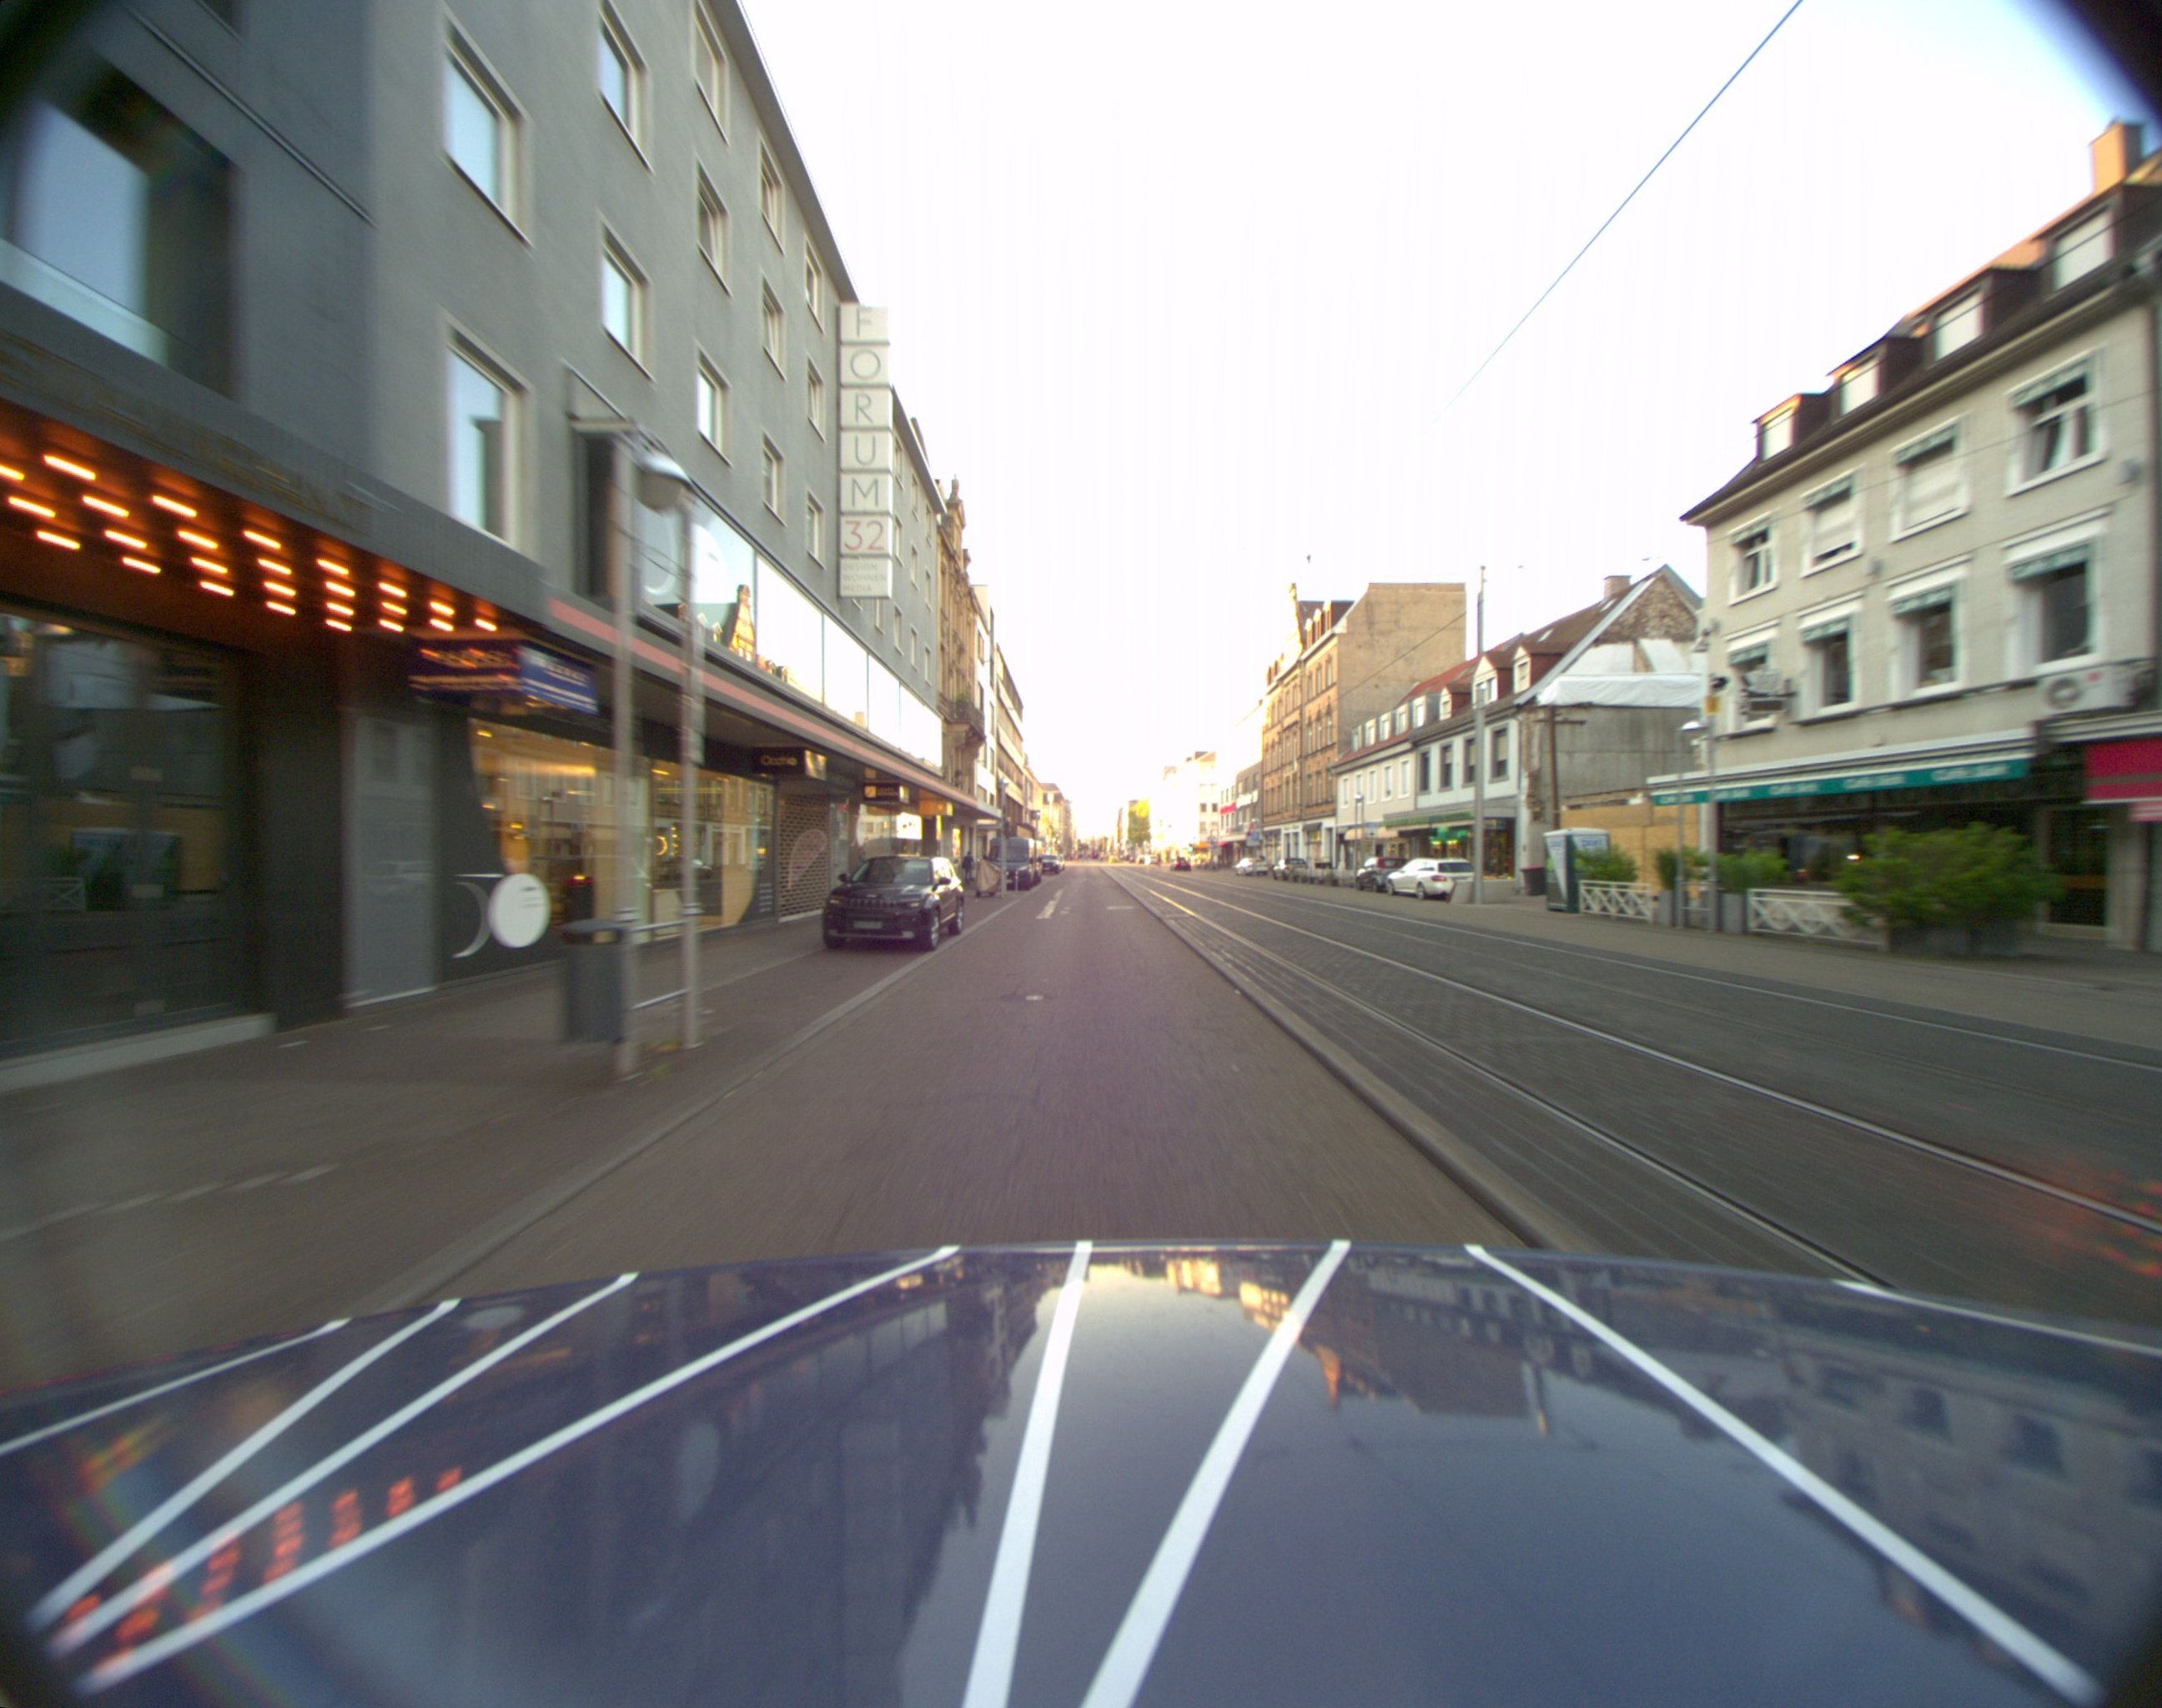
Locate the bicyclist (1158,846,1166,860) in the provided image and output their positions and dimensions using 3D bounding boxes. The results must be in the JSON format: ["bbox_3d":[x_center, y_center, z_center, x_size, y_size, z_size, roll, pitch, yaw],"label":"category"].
[{"bbox_3d":[10.241,-0.150,96.117,0.882,1.795,0.900,-2,1,1],"label":"bicyclist"}]

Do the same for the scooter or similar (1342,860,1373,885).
[{"bbox_3d":[13.288,0.889,36.504,1.365,1.161,0.311,-2,1,3],"label":"scooter or similar"}]

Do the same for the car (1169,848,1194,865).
[{"bbox_3d":[10.317,0.237,78.345,1.999,1.554,3.999,-2,1,0],"label":"car"}]

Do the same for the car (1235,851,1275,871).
[{"bbox_3d":[13.930,0.544,61.102,1.999,1.412,4.402,-2,1,-2],"label":"car"}]

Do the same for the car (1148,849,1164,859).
[{"bbox_3d":[11.383,-0.009,115.803,1.999,1.434,3.999,-2,1,0],"label":"car"}]

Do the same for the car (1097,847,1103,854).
[{"bbox_3d":[5.070,-1.052,203.257,1.572,1.781,3.664,-2,1,-1],"label":"car"}]

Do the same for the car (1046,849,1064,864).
[{"bbox_3d":[-2.917,0.311,84.980,1.899,1.557,3.534,-3,0,-2],"label":"car"}]

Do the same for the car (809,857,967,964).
[{"bbox_3d":[-3.186,0.856,13.376,1.744,1.532,3.965,0,1,0],"label":"car"}]

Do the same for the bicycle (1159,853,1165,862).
[{"bbox_3d":[10.246,0.441,96.162,0.493,1.183,2.265,-2,1,0],"label":"bicycle"}]

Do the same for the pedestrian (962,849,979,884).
[{"bbox_3d":[-5.580,0.626,38.397,0.743,1.746,0.789,2,1,-3],"label":"pedestrian"}]

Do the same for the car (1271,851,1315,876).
[{"bbox_3d":[13.646,0.584,49.097,1.846,1.484,3.815,-2,1,1],"label":"car"}]

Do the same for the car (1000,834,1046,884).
[{"bbox_3d":[-3.146,0.217,42.490,1.998,2.559,5.604,-2,1,1],"label":"car"}]

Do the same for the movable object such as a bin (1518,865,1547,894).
[{"bbox_3d":[16.526,0.936,27.810,0.684,1.039,0.657,0,1,5],"label":"movable object such as a bin"}]

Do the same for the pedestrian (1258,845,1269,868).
[{"bbox_3d":[16.104,0.246,66.952,0.748,2.002,1.049,-2,1,5],"label":"pedestrian"}]

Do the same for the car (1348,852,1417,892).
[{"bbox_3d":[13.219,0.757,33.502,1.660,1.562,3.470,-2,1,1],"label":"car"}]

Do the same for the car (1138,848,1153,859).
[{"bbox_3d":[11.055,-0.126,130.431,1.999,1.830,3.999,-2,2,0],"label":"car"}]

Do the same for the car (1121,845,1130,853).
[{"bbox_3d":[11.411,-1.230,195.122,1.999,2.002,3.999,-2,1,0],"label":"car"}]

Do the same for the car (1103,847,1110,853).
[{"bbox_3d":[7.201,-1.014,212.704,1.998,1.546,3.682,-2,1,2],"label":"car"}]

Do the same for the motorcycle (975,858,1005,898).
[{"bbox_3d":[-3.405,0.884,28.678,0.785,1.396,2.637,1,0,0],"label":"motorcycle"}]

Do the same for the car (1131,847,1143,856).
[{"bbox_3d":[10.865,-0.526,146.966,1.999,1.685,3.999,-2,1,0],"label":"car"}]

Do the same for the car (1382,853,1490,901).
[{"bbox_3d":[13.176,0.783,28.537,1.896,1.547,4.622,-2,1,1],"label":"car"}]

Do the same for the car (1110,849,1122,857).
[{"bbox_3d":[7.044,-0.215,154.317,1.999,1.780,3.681,0,0,-3],"label":"car"}]

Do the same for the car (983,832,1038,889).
[{"bbox_3d":[-3.247,0.276,36.174,2.080,2.434,5.603,-2,1,-1],"label":"car"}]

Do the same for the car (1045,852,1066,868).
[{"bbox_3d":[-2.621,0.605,77.873,1.999,1.538,3.876,-2,0,-1],"label":"car"}]

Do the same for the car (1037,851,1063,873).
[{"bbox_3d":[-2.621,0.665,64.865,1.999,1.663,3.876,-2,1,0],"label":"car"}]
